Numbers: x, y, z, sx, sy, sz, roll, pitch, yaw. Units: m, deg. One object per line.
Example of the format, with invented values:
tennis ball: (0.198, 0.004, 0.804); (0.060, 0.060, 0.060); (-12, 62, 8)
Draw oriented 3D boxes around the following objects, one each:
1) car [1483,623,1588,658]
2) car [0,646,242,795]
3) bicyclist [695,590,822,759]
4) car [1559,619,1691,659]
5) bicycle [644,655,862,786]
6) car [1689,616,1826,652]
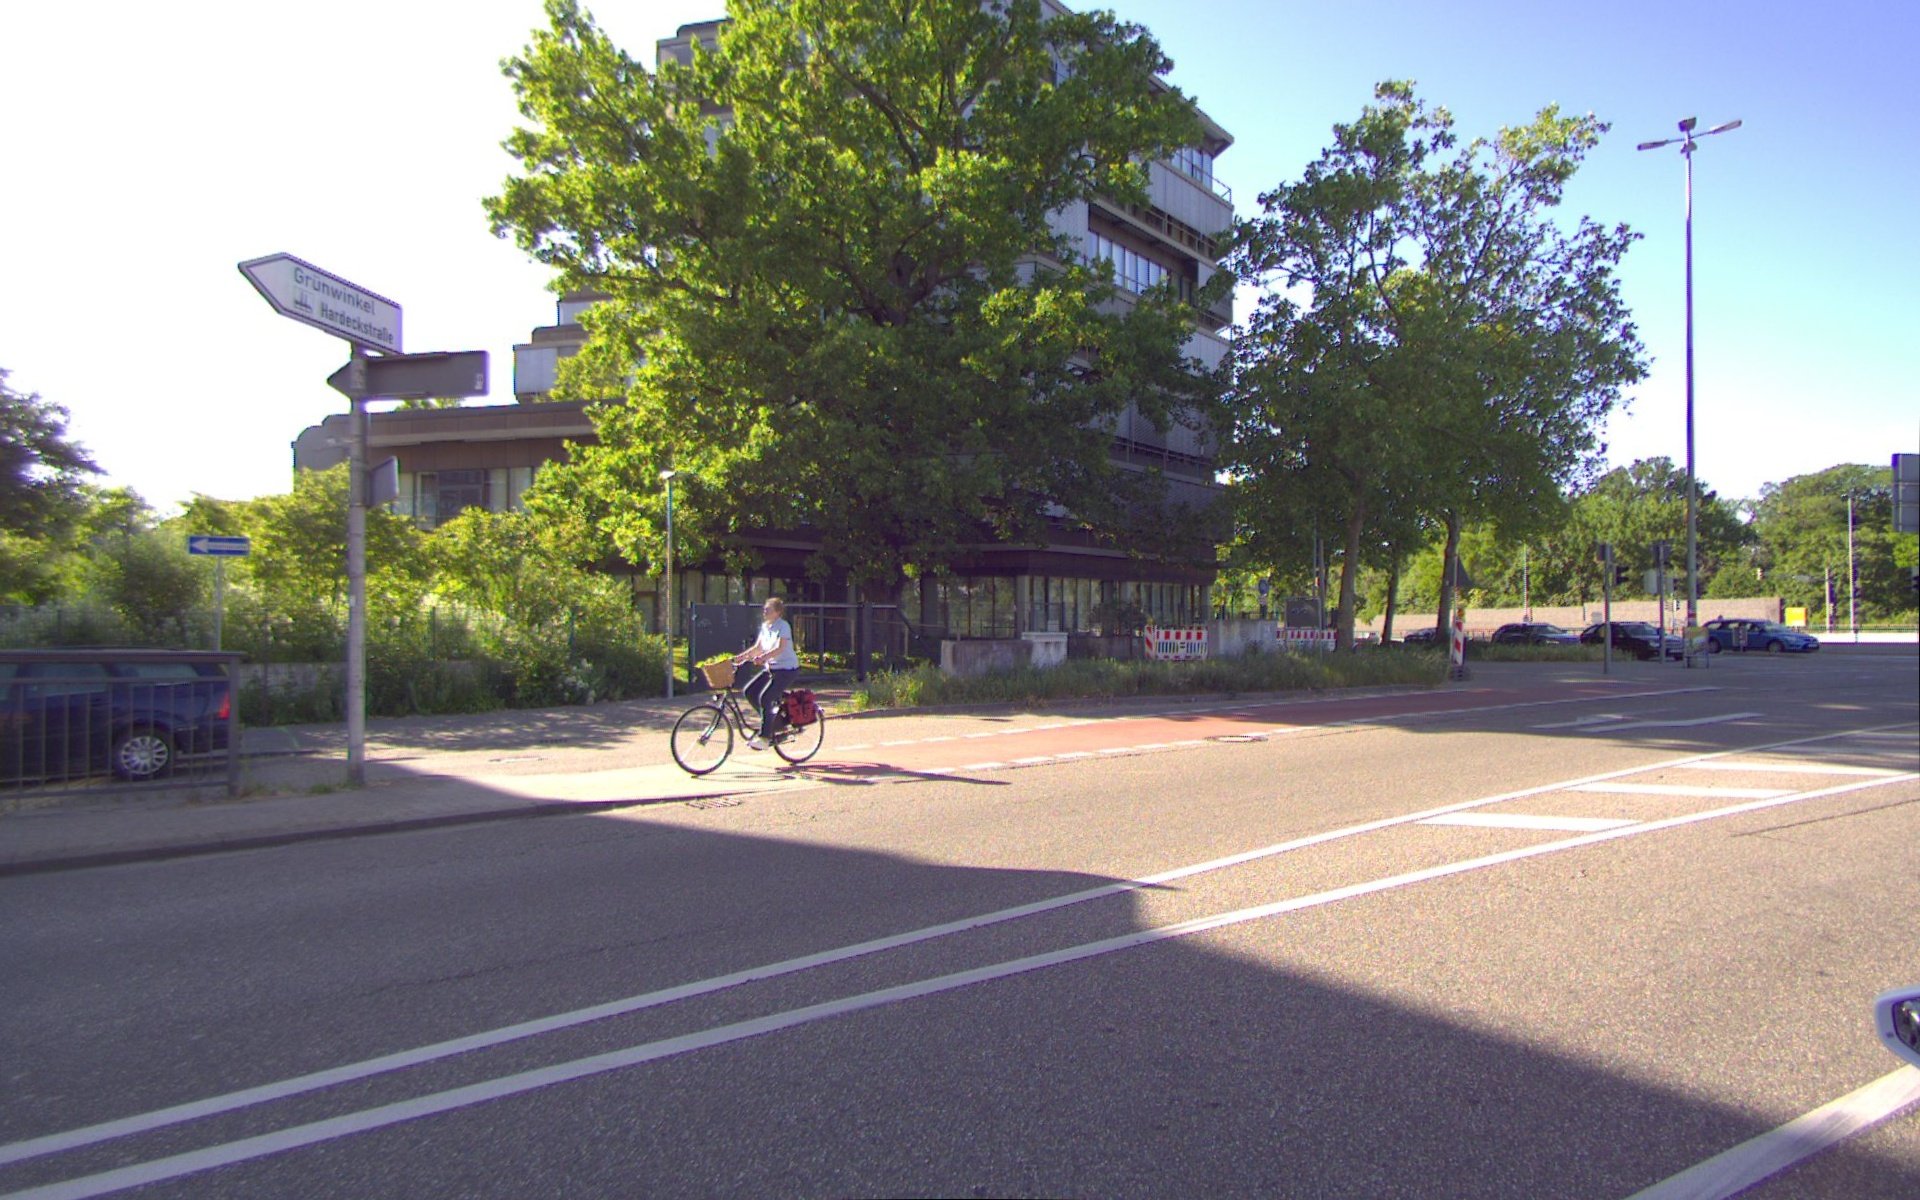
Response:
car: (25.847, 1.801, 45.284); (1.792, 1.457, 4.446); (0, -2, -7)
car: (-10.781, 1.319, 11.233); (4.411, 1.523, 1.806); (1, -2, -38)
bicyclist: (-2.181, 0.776, 10.922); (1.189, 1.723, 0.681); (1, -1, -42)
car: (25.557, 1.474, 38.802); (1.792, 1.457, 4.446); (0, -2, -7)
bicycle: (-2.193, 1.244, 10.907); (2.309, 1.218, 0.681); (1, -1, -42)
car: (34.361, 1.471, 43.439); (1.796, 1.457, 4.436); (0, -2, -17)
